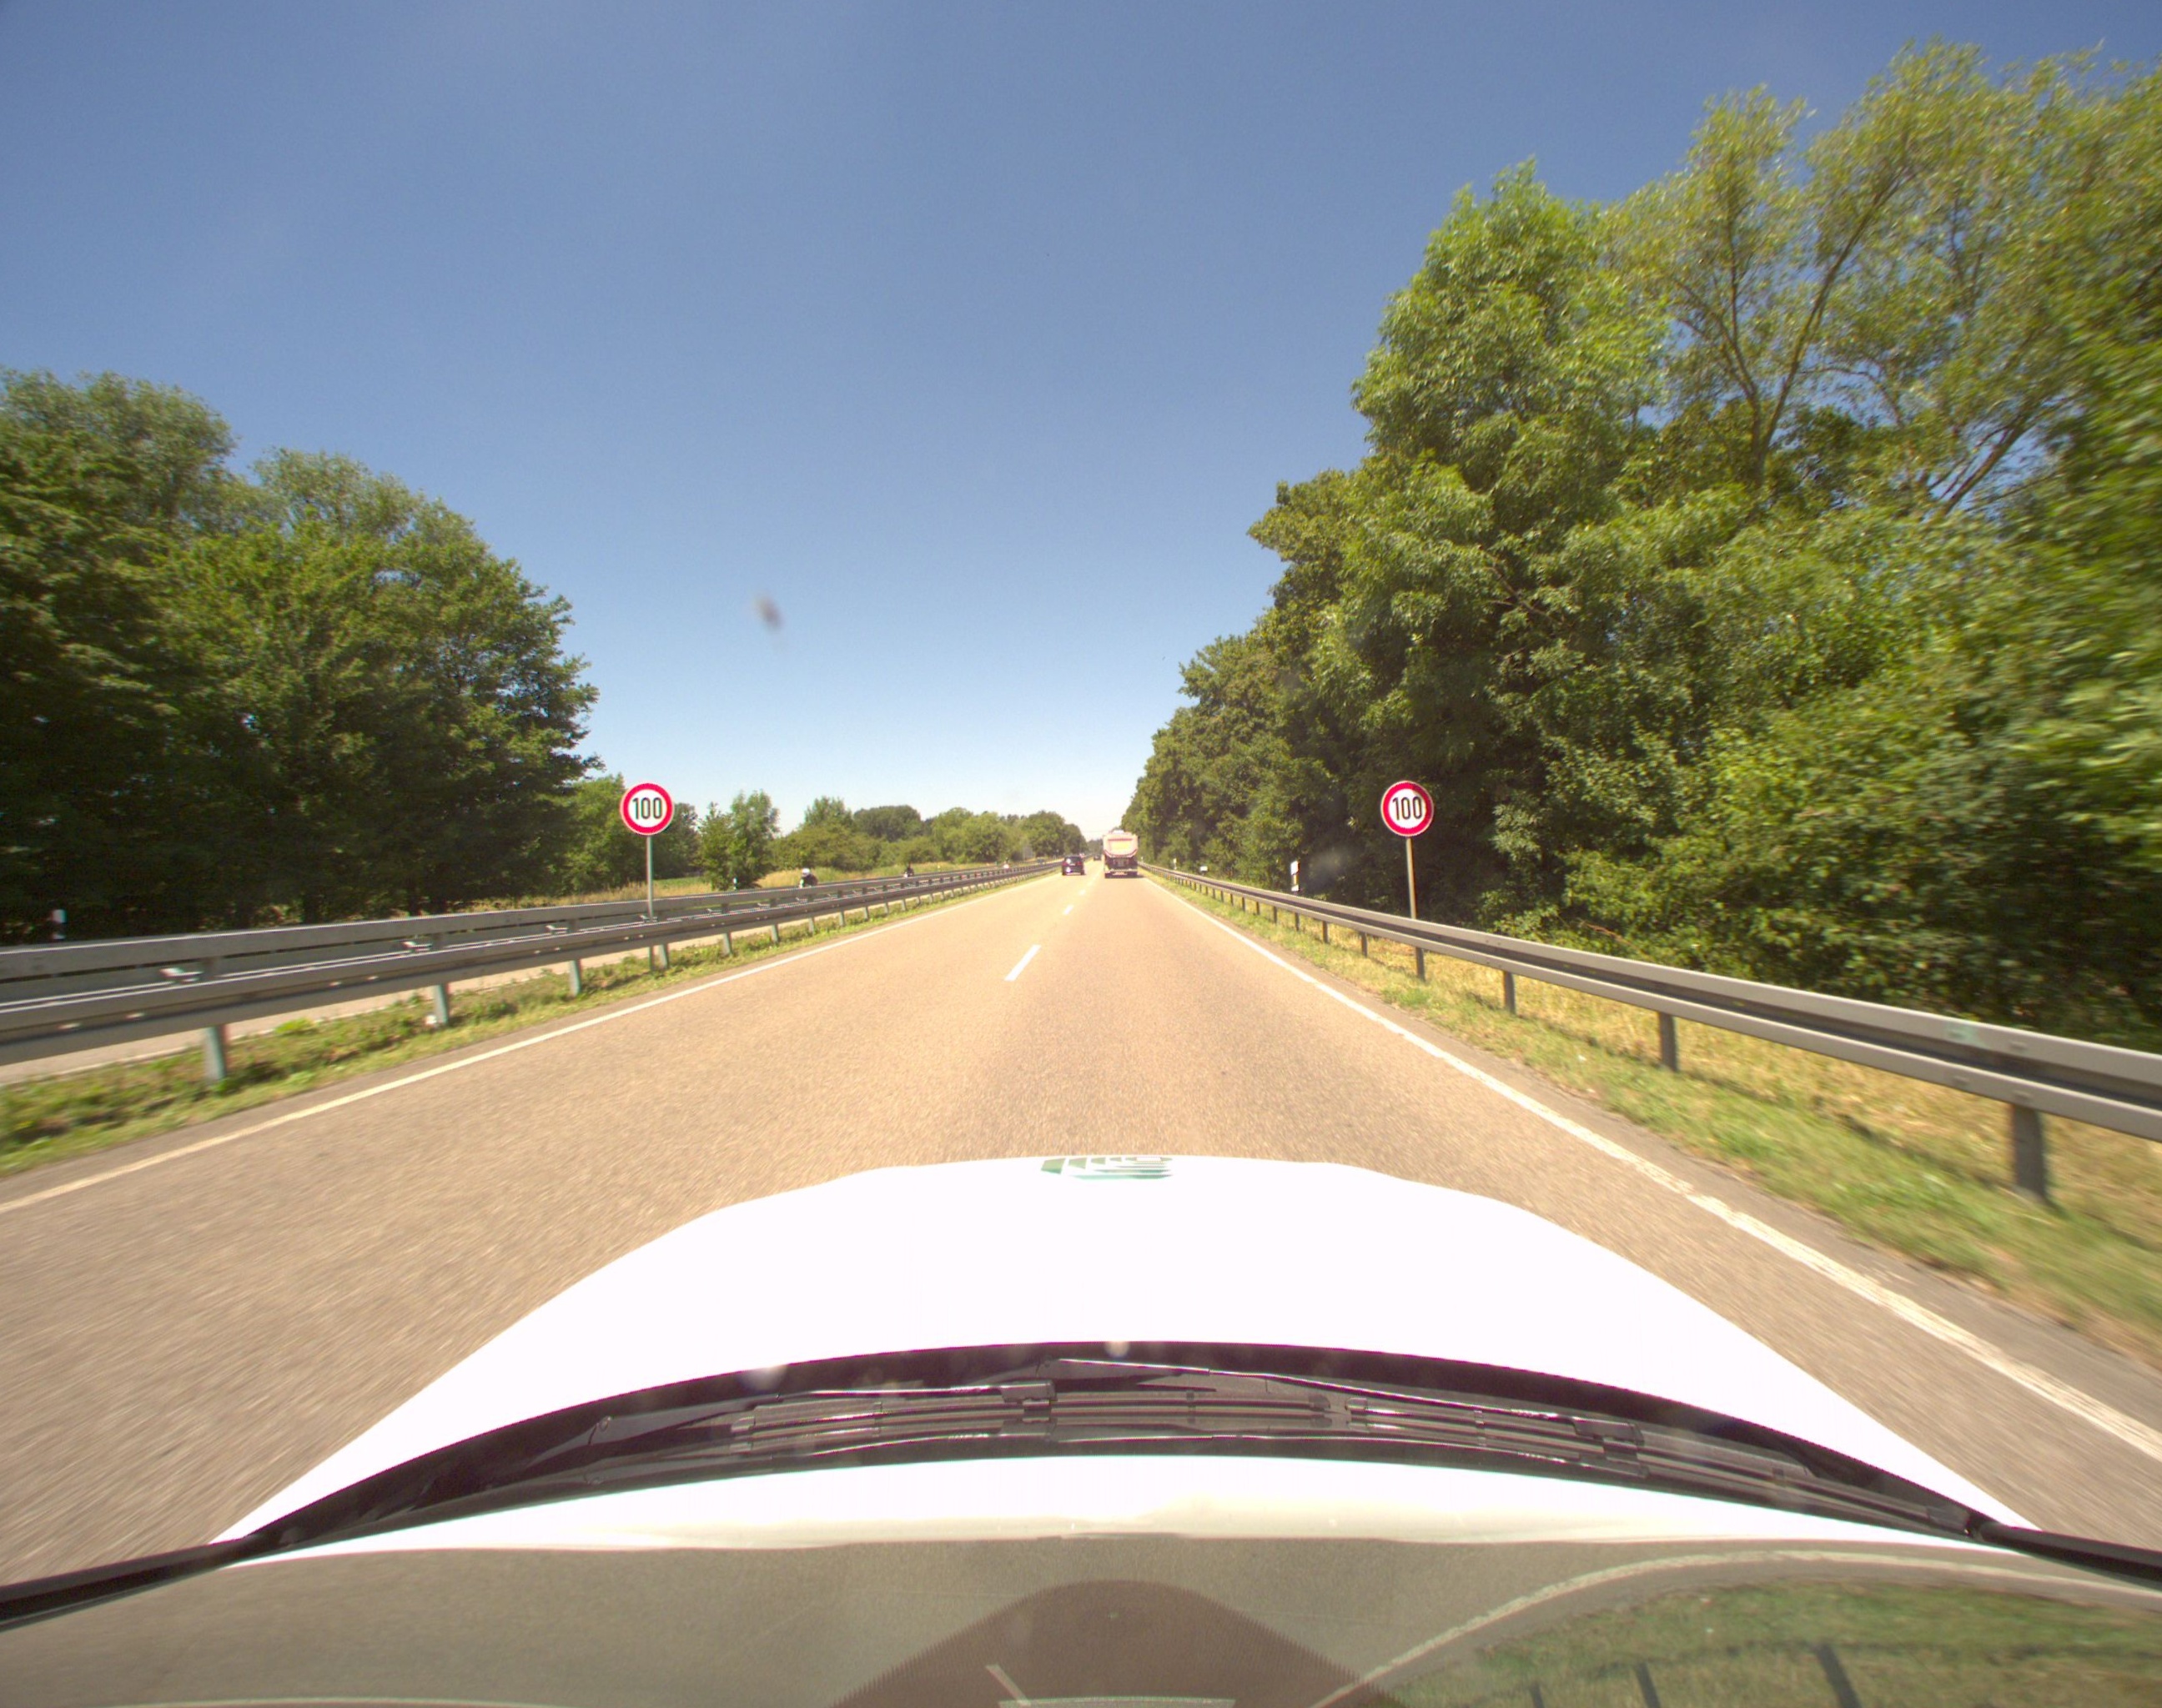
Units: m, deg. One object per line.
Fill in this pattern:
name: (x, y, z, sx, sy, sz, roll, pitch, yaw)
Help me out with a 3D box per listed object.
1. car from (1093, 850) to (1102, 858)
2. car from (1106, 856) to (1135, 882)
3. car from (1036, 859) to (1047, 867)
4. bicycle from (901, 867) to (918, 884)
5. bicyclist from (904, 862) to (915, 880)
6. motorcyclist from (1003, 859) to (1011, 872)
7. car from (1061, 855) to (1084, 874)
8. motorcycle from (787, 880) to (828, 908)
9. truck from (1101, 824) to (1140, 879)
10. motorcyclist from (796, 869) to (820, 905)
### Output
car: (3.772, -0.028, 186.601, 1.851, 1.718, 4.000, -1, -1, 1)
car: (2.688, 1.026, 55.819, 1.851, 1.671, 4.000, -1, -1, 1)
car: (-6.798, 1.602, 140.563, 1.622, 1.332, 3.537, -1, 0, 2)
bicycle: (-12.041, 1.495, 57.133, 0.611, 1.157, 2.281, -1, -1, 2)
bicyclist: (-12.052, 1.191, 57.167, 0.611, 1.277, 0.608, -1, -1, 1)
motorcyclist: (-9.381, 1.478, 103.126, 0.942, 1.617, 0.809, -3, -1, 1)
car: (-0.743, 0.950, 72.715, 1.851, 1.671, 4.000, -1, -1, 1)
motorcycle: (-11.661, 1.678, 34.812, 0.724, 1.064, 2.668, -1, -1, 2)
truck: (2.992, -0.235, 65.004, 2.710, 3.930, 12.373, -1, 0, 1)
motorcyclist: (-11.665, 1.392, 34.827, 0.715, 1.482, 0.810, -1, -1, 2)
